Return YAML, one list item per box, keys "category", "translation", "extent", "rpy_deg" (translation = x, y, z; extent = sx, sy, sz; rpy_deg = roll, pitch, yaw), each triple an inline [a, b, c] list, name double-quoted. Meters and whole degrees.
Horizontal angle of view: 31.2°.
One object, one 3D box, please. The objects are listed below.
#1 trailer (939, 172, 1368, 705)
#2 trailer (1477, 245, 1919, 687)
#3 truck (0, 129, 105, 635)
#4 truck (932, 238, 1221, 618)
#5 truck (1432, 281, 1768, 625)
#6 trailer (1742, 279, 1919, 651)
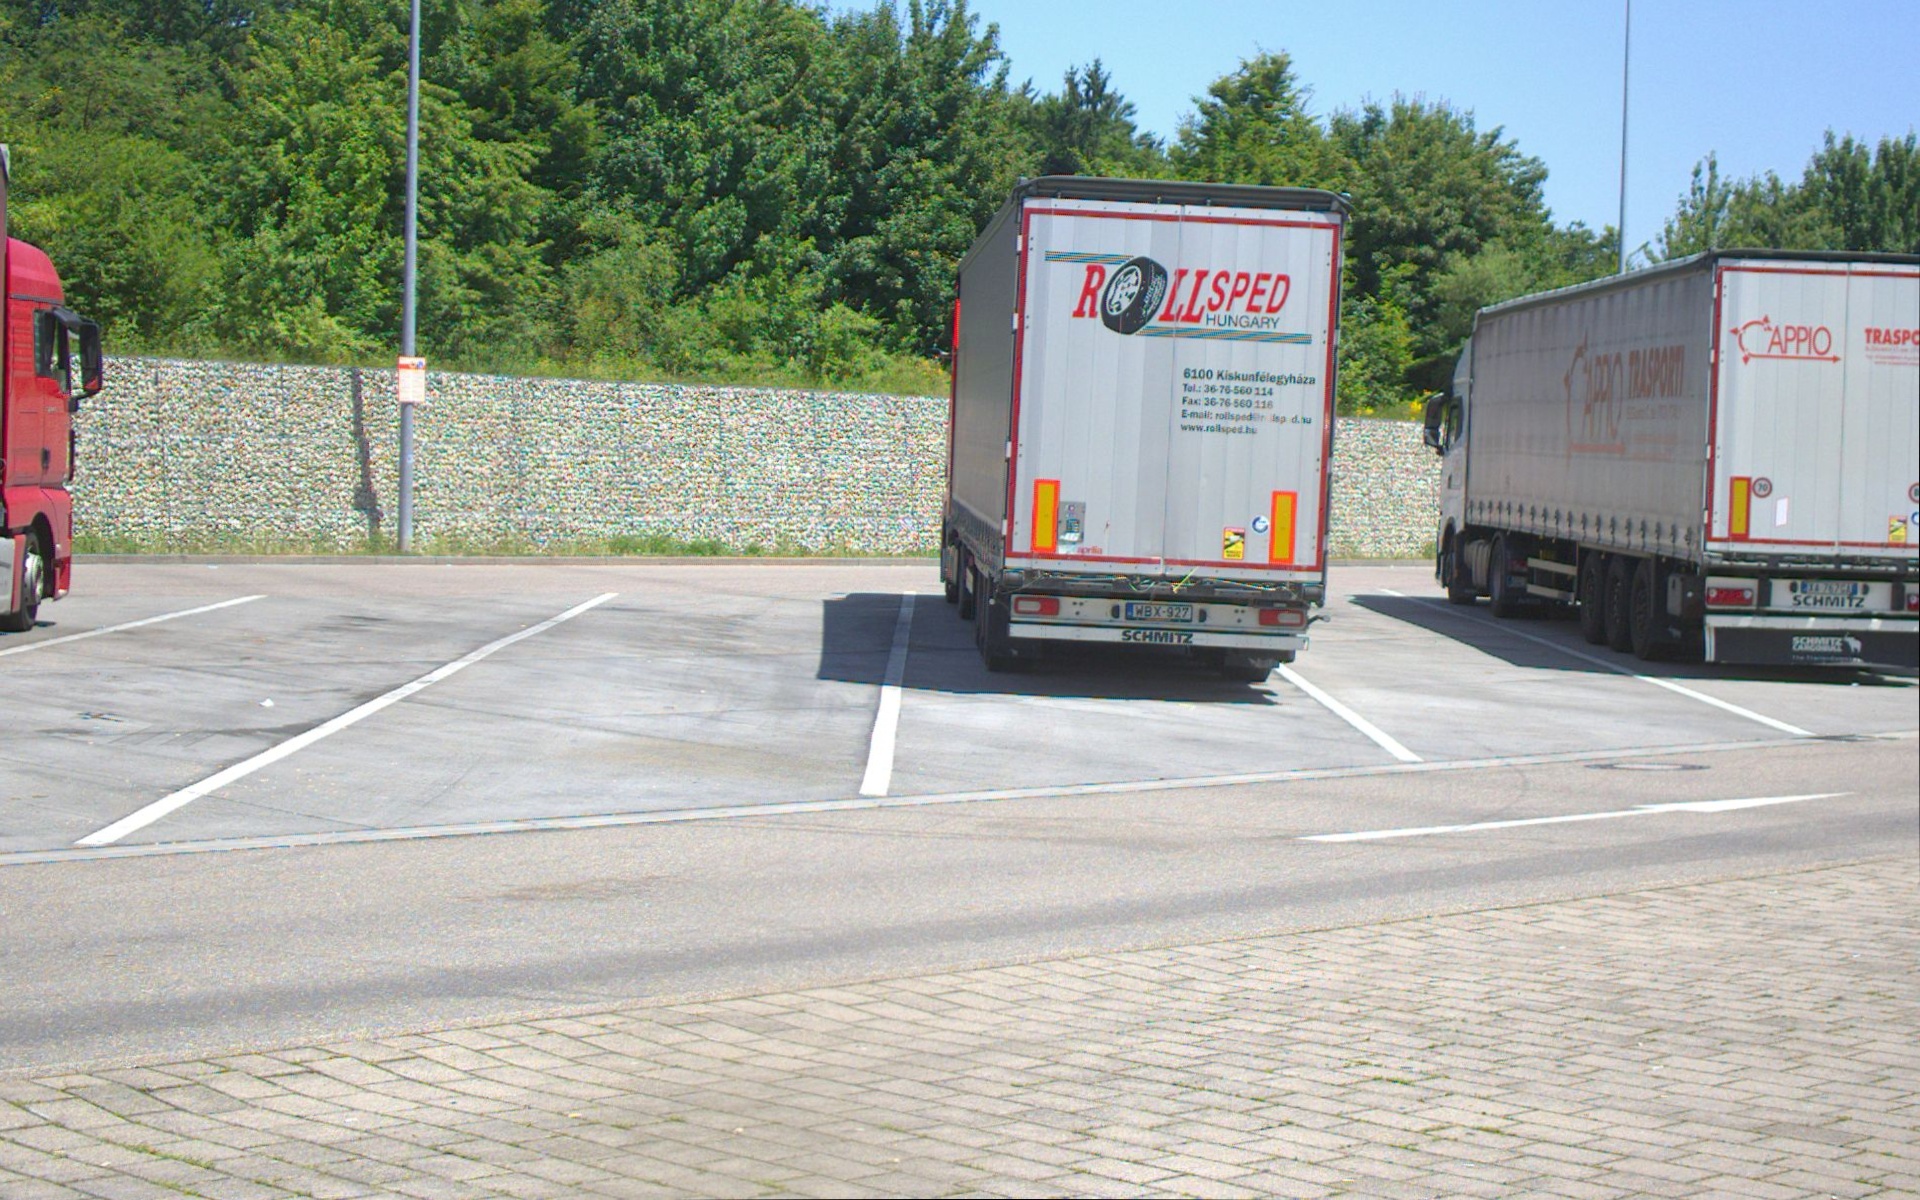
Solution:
- category: "trailer"
  translation: [1.443, -1.633, 33.620]
  extent: [2.866, 4.023, 14.243]
  rpy_deg: [2, 3, -2]
- category: "trailer"
  translation: [8.188, -1.566, 37.957]
  extent: [2.866, 4.023, 12.439]
  rpy_deg: [2, 3, 0]
- category: "truck"
  translation: [-9.144, -1.808, 27.982]
  extent: [2.696, 4.099, 6.240]
  rpy_deg: [2, 3, 0]
- category: "truck"
  translation: [1.232, -2.052, 40.699]
  extent: [2.866, 4.023, 7.028]
  rpy_deg: [2, 3, -2]
- category: "truck"
  translation: [8.129, -1.949, 44.584]
  extent: [2.866, 4.023, 6.957]
  rpy_deg: [2, 3, 0]
- category: "trailer"
  translation: [11.843, -1.527, 39.021]
  extent: [2.866, 4.023, 12.439]
  rpy_deg: [2, 3, 0]
